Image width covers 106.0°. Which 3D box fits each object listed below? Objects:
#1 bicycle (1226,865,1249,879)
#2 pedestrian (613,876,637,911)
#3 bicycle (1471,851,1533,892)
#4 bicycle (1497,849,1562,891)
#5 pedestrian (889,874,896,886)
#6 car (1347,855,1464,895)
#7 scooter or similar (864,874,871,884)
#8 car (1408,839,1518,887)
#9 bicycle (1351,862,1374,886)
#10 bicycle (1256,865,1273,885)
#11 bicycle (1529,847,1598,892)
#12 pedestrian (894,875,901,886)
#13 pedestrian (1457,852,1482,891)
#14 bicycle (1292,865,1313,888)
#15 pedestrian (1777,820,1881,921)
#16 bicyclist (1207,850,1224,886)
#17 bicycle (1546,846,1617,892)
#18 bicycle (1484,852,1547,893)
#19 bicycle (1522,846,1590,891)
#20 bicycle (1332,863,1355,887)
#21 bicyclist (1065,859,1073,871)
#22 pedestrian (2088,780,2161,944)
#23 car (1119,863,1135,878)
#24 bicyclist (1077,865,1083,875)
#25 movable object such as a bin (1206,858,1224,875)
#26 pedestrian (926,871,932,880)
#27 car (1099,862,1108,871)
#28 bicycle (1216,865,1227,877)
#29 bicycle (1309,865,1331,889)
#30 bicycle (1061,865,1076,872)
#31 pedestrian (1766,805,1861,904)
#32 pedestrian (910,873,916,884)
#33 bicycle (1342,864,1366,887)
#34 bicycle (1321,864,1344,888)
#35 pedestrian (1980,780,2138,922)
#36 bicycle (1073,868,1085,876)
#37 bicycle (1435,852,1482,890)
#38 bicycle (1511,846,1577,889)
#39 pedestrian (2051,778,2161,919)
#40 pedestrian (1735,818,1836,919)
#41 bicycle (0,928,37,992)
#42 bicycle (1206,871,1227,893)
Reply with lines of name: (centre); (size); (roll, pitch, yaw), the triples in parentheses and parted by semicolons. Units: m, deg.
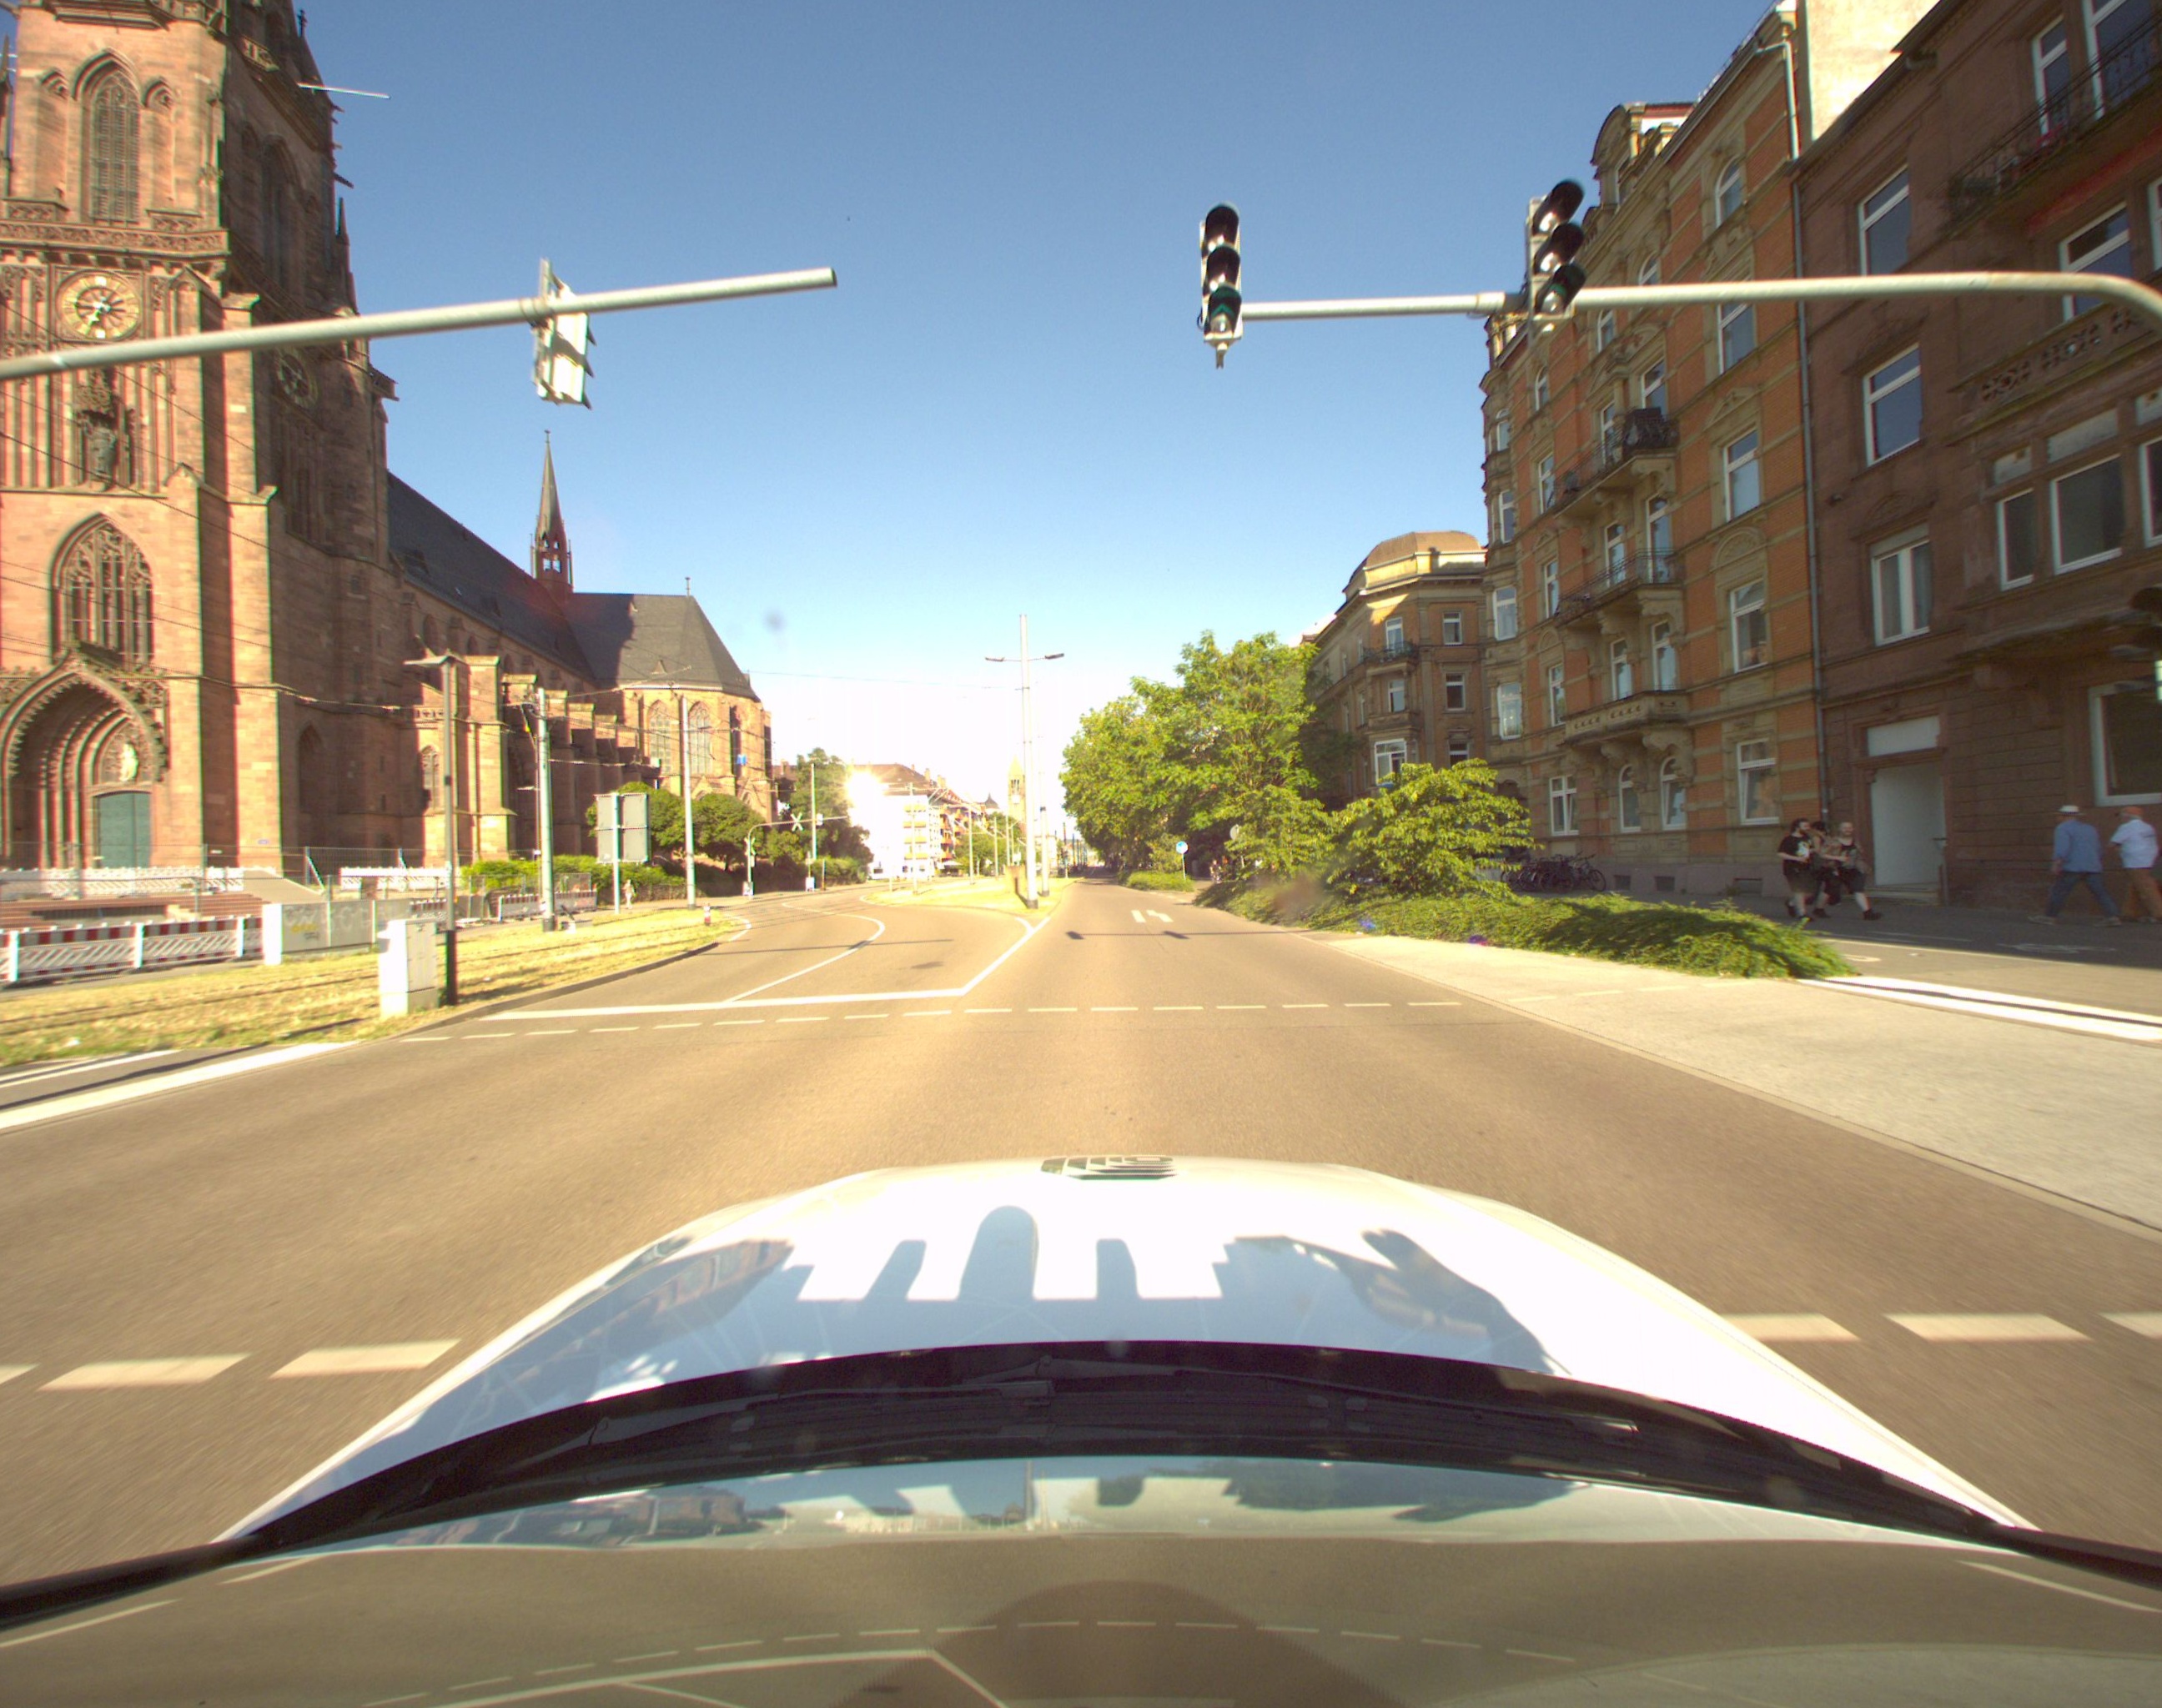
bicycle: (11.908, 1.352, 61.964); (1.646, 0.924, 0.539); (-3, 2, 2)
pedestrian: (-24.814, 2.132, 44.303); (0.726, 1.773, 0.863); (-3, 2, -2)
bicycle: (14.153, 0.590, 27.367); (1.884, 1.239, 0.488); (-3, -2, -12)
bicycle: (14.452, 0.524, 26.230); (1.884, 1.239, 0.488); (-3, -2, -12)
pedestrian: (-26.656, 3.712, 115.224); (0.641, 1.598, 0.898); (-3, 2, 1)
car: (13.796, 0.875, 34.773); (4.236, 1.415, 1.813); (-3, 2, 0)
scooter or similar: (-28.236, 3.310, 107.791); (0.400, 1.261, 1.231); (-3, 2, 2)
car: (18.699, 0.422, 39.993); (4.563, 2.124, 1.775); (-2, 2, -1)
bicycle: (14.302, 1.002, 41.464); (0.516, 1.047, 1.821); (-3, 2, 1)
bicycle: (10.351, 1.185, 46.042); (0.524, 0.988, 1.722); (-3, 2, 0)
bicycle: (14.542, 0.461, 24.551); (1.884, 1.239, 0.488); (-3, -2, -12)
pedestrian: (-25.948, 3.723, 115.277); (0.587, 1.467, 0.916); (-3, 2, 1)
pedestrian: (15.568, 0.694, 32.635); (0.694, 1.534, 0.665); (-3, -1, 42)
bicycle: (11.360, 1.143, 41.806); (0.516, 1.047, 1.821); (-3, 2, 1)
pedestrian: (13.003, 0.281, 14.197); (0.700, 1.656, 1.137); (-2, -1, 1)
bicyclist: (6.863, 0.718, 41.597); (0.639, 1.815, 1.052); (-3, -2, 0)
bicycle: (14.743, 0.438, 24.011); (1.884, 1.239, 0.488); (-3, -2, -12)
bicycle: (14.287, 0.603, 26.780); (1.884, 1.239, 0.488); (-3, -2, -12)
bicycle: (14.669, 0.449, 25.168); (1.884, 1.239, 0.488); (-3, -2, -12)
bicycle: (13.127, 1.053, 40.773); (0.516, 1.047, 1.821); (-3, 2, 1)
bicyclist: (-1.900, 1.722, 128.275); (1.137, 1.890, 0.682); (-3, 2, 1)
pedestrian: (13.153, 0.082, 9.697); (0.819, 1.930, 1.137); (-2, -1, 1)
car: (5.024, 1.825, 89.311); (1.637, 1.511, 4.184); (-3, 0, 2)
bicyclist: (-0.173, 2.538, 130.953); (0.748, 1.557, 0.572); (-4, 2, -7)
movable object such as a bin: (11.616, 1.052, 70.568); (1.228, 1.382, 1.257); (-3, -1, 0)
pedestrian: (-23.559, 3.328, 126.247); (0.592, 1.467, 0.908); (-4, 2, -29)
car: (5.528, 3.072, 198.908); (1.986, 2.107, 4.001); (0, -2, 2)
bicycle: (11.417, 1.383, 66.074); (0.766, 0.854, 0.375); (-3, 2, -2)
bicycle: (11.941, 1.145, 40.754); (0.516, 1.047, 1.821); (-3, 2, 1)
bicycle: (-1.923, 2.321, 128.283); (2.234, 0.976, 0.682); (-2, 2, 0)
pedestrian: (14.881, 0.016, 16.585); (0.819, 1.930, 1.137); (-2, -1, 1)
pedestrian: (-23.914, 3.446, 115.951); (0.685, 1.467, 0.592); (-3, 2, 4)
bicycle: (13.658, 1.064, 40.778); (0.516, 1.047, 1.821); (-3, 2, 1)
bicycle: (12.579, 1.086, 40.755); (0.516, 1.047, 1.821); (-3, 2, 1)
pedestrian: (14.146, -0.031, 11.825); (0.819, 1.930, 1.137); (-2, -1, 1)
bicycle: (-0.251, 2.893, 130.942); (1.813, 1.047, 0.572); (-4, 2, -7)
bicycle: (13.169, 0.610, 28.476); (0.489, 1.239, 1.884); (-3, -2, -8)
bicycle: (14.648, 0.428, 25.757); (1.884, 1.239, 0.488); (-3, -2, -12)
pedestrian: (15.086, -0.083, 11.706); (0.819, 1.930, 1.137); (-2, -1, 1)
pedestrian: (12.235, 0.246, 14.188); (0.700, 1.656, 1.137); (-2, -1, 1)
bicycle: (-19.990, 2.010, 13.830); (0.961, 1.096, 2.818); (-4, 2, -6)
bicycle: (6.894, 1.408, 41.584); (0.639, 1.048, 2.360); (-3, -2, 1)
